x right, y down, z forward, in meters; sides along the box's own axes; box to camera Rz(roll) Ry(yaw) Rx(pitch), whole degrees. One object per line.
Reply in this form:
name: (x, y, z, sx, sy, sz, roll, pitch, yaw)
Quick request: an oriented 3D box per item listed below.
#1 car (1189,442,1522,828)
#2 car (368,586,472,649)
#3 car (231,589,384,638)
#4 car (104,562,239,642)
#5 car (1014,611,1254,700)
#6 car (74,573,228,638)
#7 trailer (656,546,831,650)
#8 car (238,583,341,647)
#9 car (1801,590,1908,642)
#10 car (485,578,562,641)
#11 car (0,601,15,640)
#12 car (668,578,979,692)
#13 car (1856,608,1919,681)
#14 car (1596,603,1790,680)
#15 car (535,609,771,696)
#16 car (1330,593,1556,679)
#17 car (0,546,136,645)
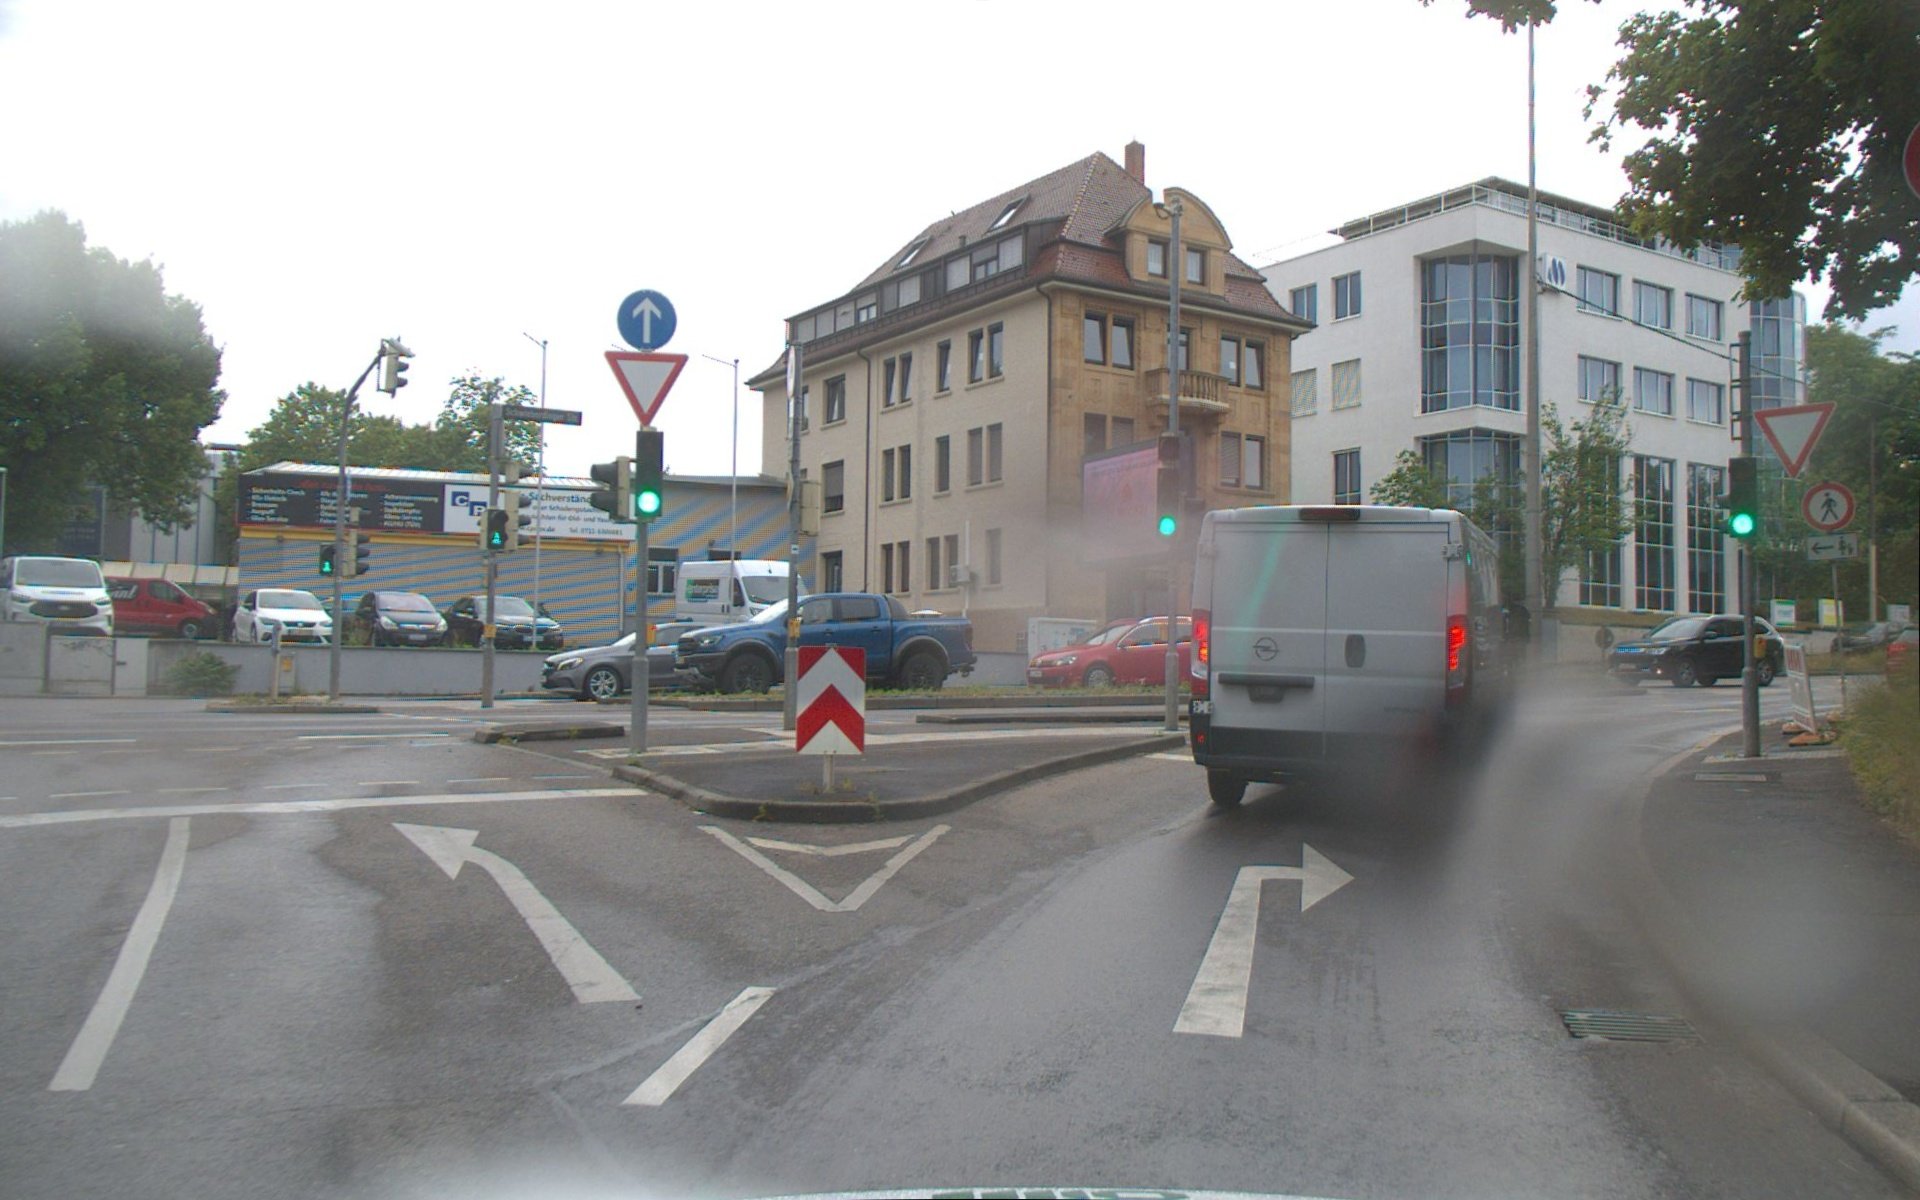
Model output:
car: (3.454, 0.202, 13.626, 2.008, 2.560, 4.944, 2, 1, 20)
car: (-12.675, 0.396, 38.738, 1.716, 1.392, 3.590, 2, -1, -28)
car: (-19.954, 0.421, 50.716, 4.259, 1.431, 1.366, 0, -3, -18)
car: (-26.784, 0.108, 56.323, 3.918, 2.542, 1.643, 2, -4, -22)
car: (3.351, 1.103, 31.621, 4.378, 1.558, 1.794, 3, -4, -29)
car: (-25.965, 0.206, 53.227, 4.236, 1.894, 1.729, 2, -4, -22)
trailer: (-6.131, 0.052, 45.803, 2.361, 2.471, 7.050, 3, -4, -29)
car: (-15.546, 0.330, 38.276, 1.845, 1.392, 3.590, 2, -1, -28)
car: (32.589, 0.587, 60.236, 3.941, 1.752, 1.598, -1, -2, -32)
car: (-10.583, 0.219, 39.987, 1.209, 1.449, 2.662, 2, -1, -28)
car: (-32.253, 0.670, 54.349, 1.719, 1.143, 3.458, 2, -4, -25)
car: (-2.347, 0.632, 28.792, 5.094, 1.851, 1.922, 1, -3, -28)
car: (20.218, 0.957, 33.982, 3.319, 1.451, 1.683, 3, -2, -29)
car: (17.128, 1.006, 38.598, 4.661, 1.633, 1.677, 3, -4, -29)
car: (-5.645, 1.006, 30.554, 4.012, 1.485, 1.532, 3, -4, -29)
car: (10.306, 0.778, 35.247, 4.557, 1.727, 1.943, 0, -3, -28)
car: (-19.612, -0.019, 35.957, 2.195, 1.833, 5.304, 3, -4, -35)
